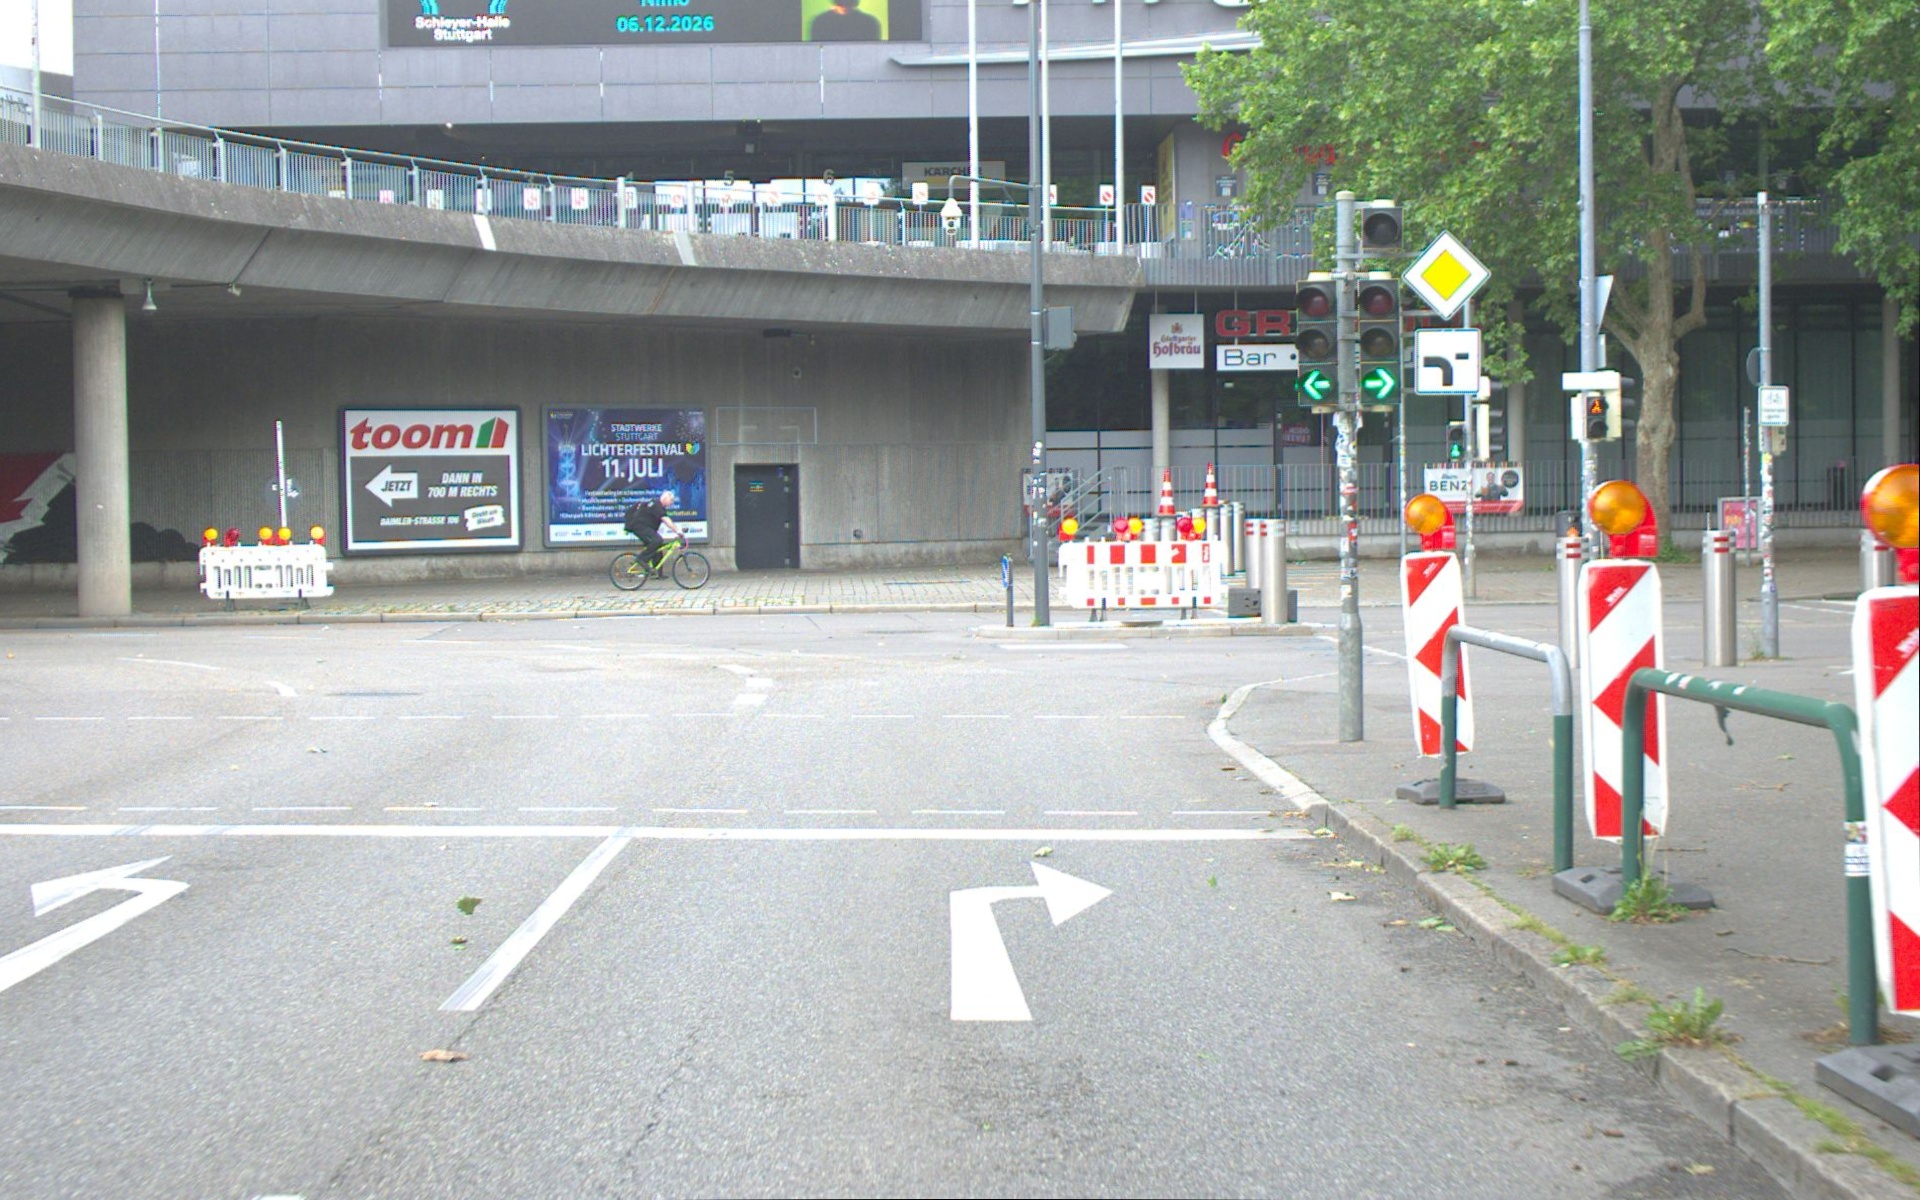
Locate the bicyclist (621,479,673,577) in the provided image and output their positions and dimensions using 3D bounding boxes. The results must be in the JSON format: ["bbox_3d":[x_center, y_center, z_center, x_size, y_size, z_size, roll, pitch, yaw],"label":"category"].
[{"bbox_3d":[-5.441,-1.250,59.811,0.851,1.692,0.767,1,1,-4],"label":"bicyclist"}]

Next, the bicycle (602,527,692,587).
[{"bbox_3d":[-5.444,-0.751,59.813,1.532,1.009,0.517,1,1,-4],"label":"bicycle"}]
